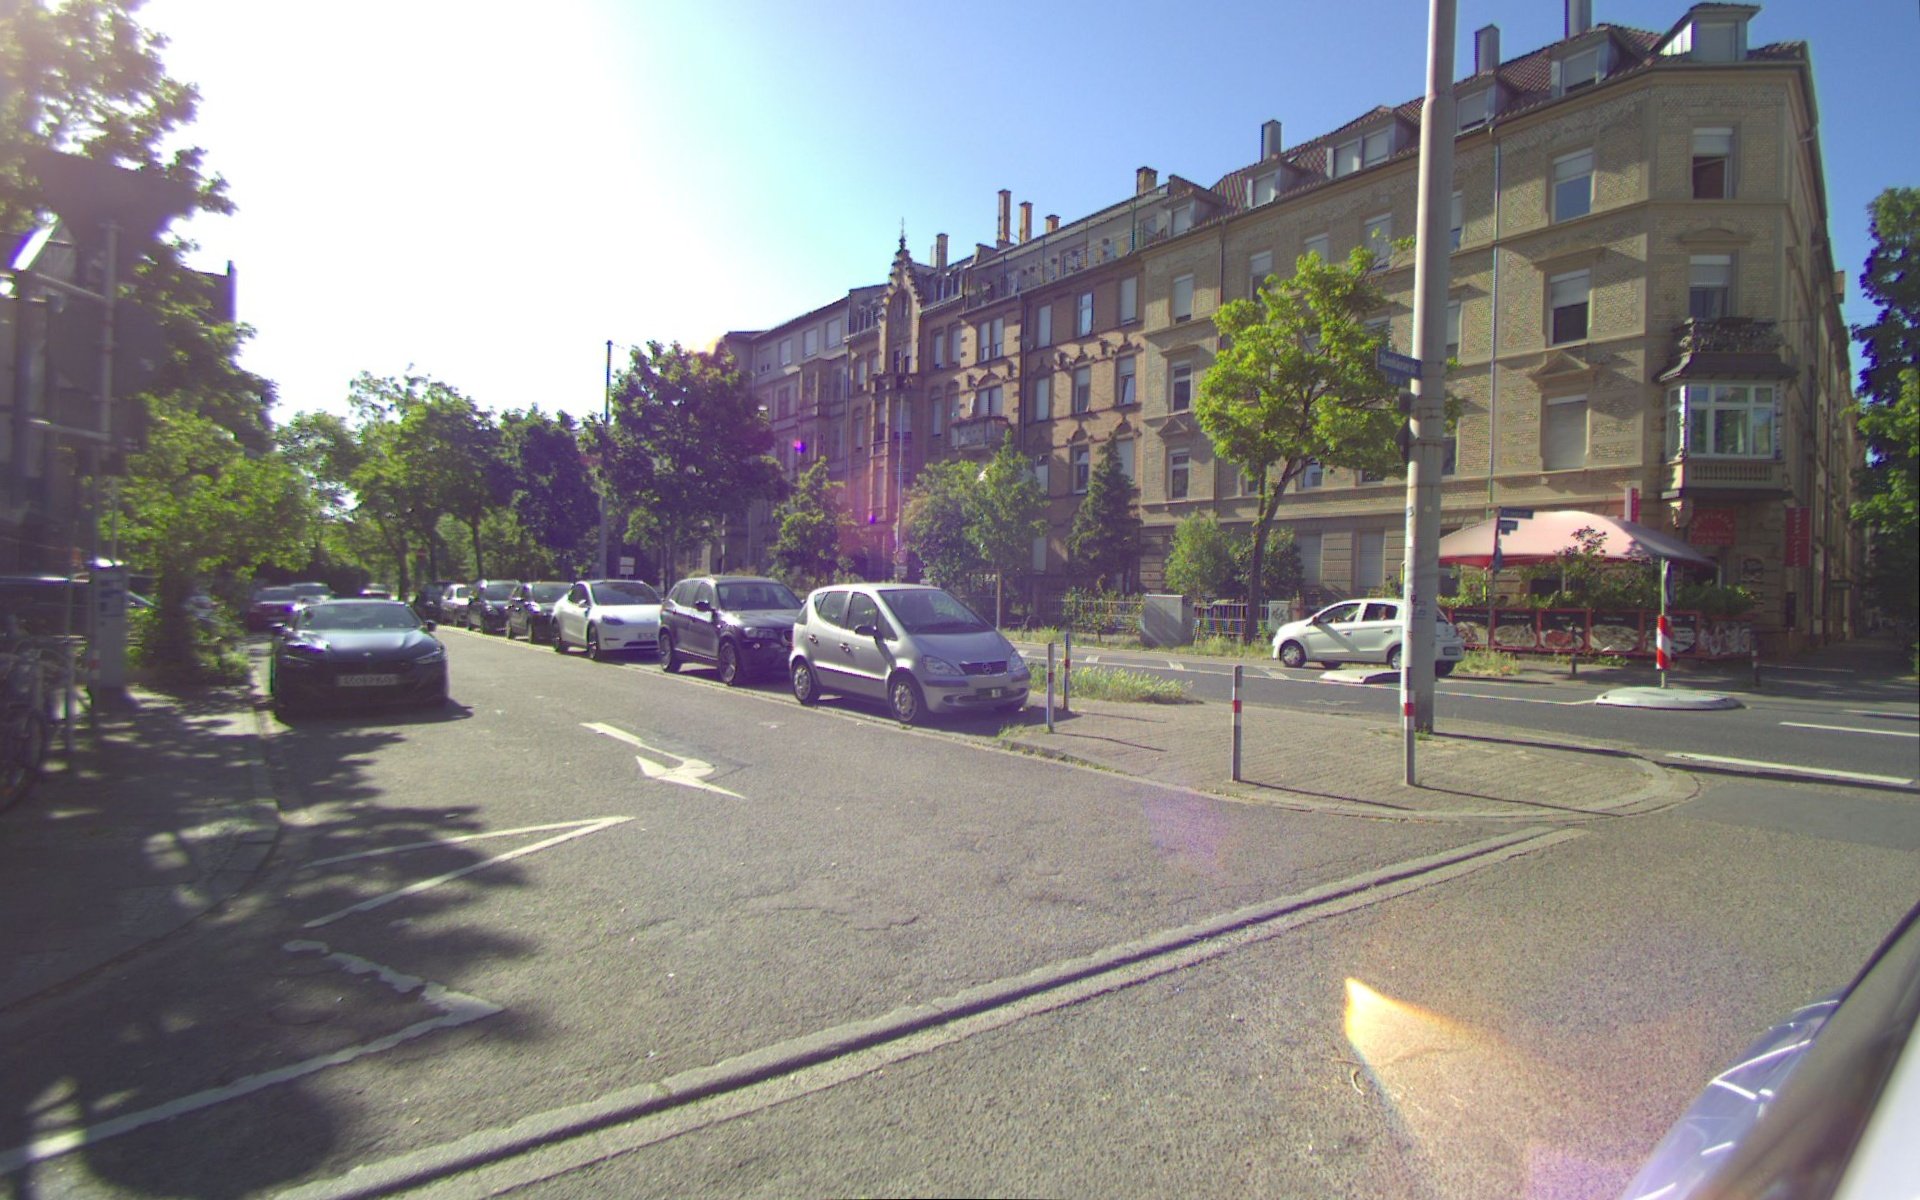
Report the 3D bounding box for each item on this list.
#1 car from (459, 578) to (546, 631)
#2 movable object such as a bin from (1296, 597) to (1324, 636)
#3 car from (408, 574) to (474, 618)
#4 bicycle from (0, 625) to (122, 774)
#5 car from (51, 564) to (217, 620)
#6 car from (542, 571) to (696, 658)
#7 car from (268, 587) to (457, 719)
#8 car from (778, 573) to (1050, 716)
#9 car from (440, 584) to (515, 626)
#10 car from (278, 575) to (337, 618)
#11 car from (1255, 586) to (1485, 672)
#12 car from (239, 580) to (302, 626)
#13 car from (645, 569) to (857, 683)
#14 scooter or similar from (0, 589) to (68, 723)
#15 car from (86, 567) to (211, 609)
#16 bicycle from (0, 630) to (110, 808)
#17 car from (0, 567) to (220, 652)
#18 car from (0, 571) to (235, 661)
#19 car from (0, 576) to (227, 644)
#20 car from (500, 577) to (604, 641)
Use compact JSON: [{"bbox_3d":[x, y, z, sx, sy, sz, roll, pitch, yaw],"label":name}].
[{"bbox_3d":[-14.617,0.094,32.234,1.724,1.572,3.999,0,1,-37],"label":"car"},{"bbox_3d":[10.376,0.486,29.995,0.559,1.147,0.551,1,0,-36],"label":"movable object such as a bin"},{"bbox_3d":[-20.766,-0.165,40.425,1.735,1.667,3.999,1,0,-36],"label":"car"},{"bbox_3d":[-7.427,0.759,8.293,0.407,1.014,1.805,4,-1,-27],"label":"bicycle"},{"bbox_3d":[-25.719,-0.242,31.640,3.929,1.650,1.685,1,0,-40],"label":"car"},{"bbox_3d":[-7.529,0.223,22.077,1.860,1.682,4.529,-2,2,-37],"label":"car"},{"bbox_3d":[-8.053,0.553,13.455,1.861,1.415,4.530,0,1,-34],"label":"car"},{"bbox_3d":[-0.697,0.443,12.795,1.694,1.537,3.528,0,1,-39],"label":"car"},{"bbox_3d":[-17.487,0.137,36.583,1.727,1.415,3.999,1,1,-37],"label":"car"},{"bbox_3d":[-26.255,-0.159,40.652,1.735,1.667,3.999,1,0,-36],"label":"car"},{"bbox_3d":[8.272,0.523,20.726,1.634,1.549,4.098,1,0,-37],"label":"car"},{"bbox_3d":[-23.961,0.086,35.135,1.660,1.488,3.999,1,0,-36],"label":"car"},{"bbox_3d":[-3.645,0.327,16.997,1.839,1.648,4.504,0,1,-36],"label":"car"},{"bbox_3d":[-9.921,0.543,9.769,1.939,1.293,0.630,1,1,-42],"label":"scooter or similar"},{"bbox_3d":[-33.209,-0.461,41.496,3.929,1.650,1.685,1,0,-40],"label":"car"},{"bbox_3d":[-6.331,0.766,6.709,0.406,1.044,1.806,4,-1,-20],"label":"bicycle"},{"bbox_3d":[-18.021,0.178,21.208,3.929,1.628,1.839,1,0,-40],"label":"car"},{"bbox_3d":[-16.249,0.268,19.208,3.929,1.570,1.768,1,0,-40],"label":"car"},{"bbox_3d":[-19.426,0.215,23.374,3.929,1.442,1.685,1,0,-40],"label":"car"},{"bbox_3d":[-11.211,0.184,27.654,1.833,1.607,4.001,-1,1,-34],"label":"car"}]
